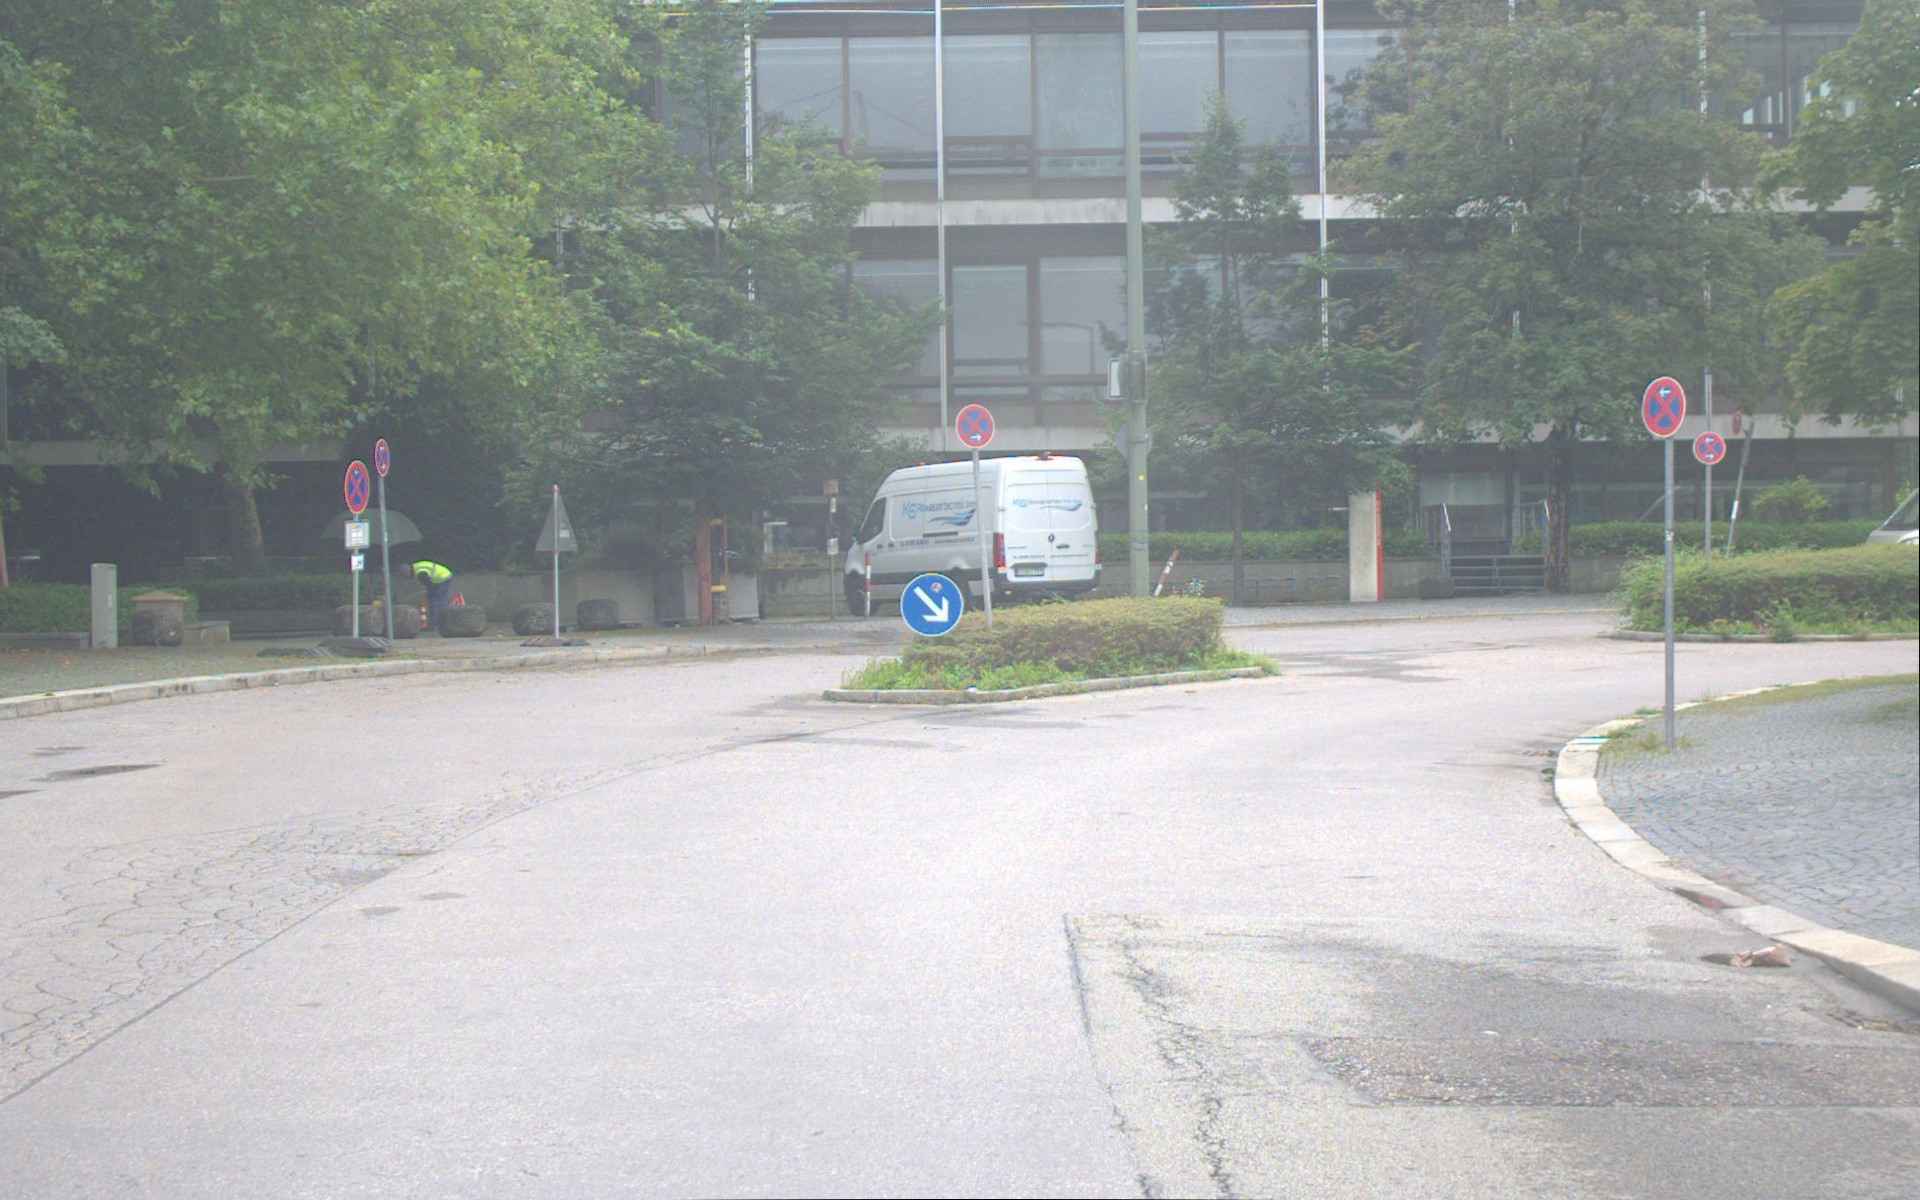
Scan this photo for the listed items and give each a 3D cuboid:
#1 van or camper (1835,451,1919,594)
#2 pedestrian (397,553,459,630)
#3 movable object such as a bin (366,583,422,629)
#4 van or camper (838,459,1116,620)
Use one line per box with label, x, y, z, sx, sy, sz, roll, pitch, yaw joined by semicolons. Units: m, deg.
van or camper;17.851;-1.288;56.536;6.396;2.273;2.256;-1;1;-14
pedestrian;-8.885;-0.148;57.444;0.926;1.273;0.542;0;1;2
movable object such as a bin;-9.452;0.103;57.413;0.834;0.751;0.572;0;1;3
van or camper;0.193;-0.977;59.560;2.155;2.572;6.540;0;-1;-26
